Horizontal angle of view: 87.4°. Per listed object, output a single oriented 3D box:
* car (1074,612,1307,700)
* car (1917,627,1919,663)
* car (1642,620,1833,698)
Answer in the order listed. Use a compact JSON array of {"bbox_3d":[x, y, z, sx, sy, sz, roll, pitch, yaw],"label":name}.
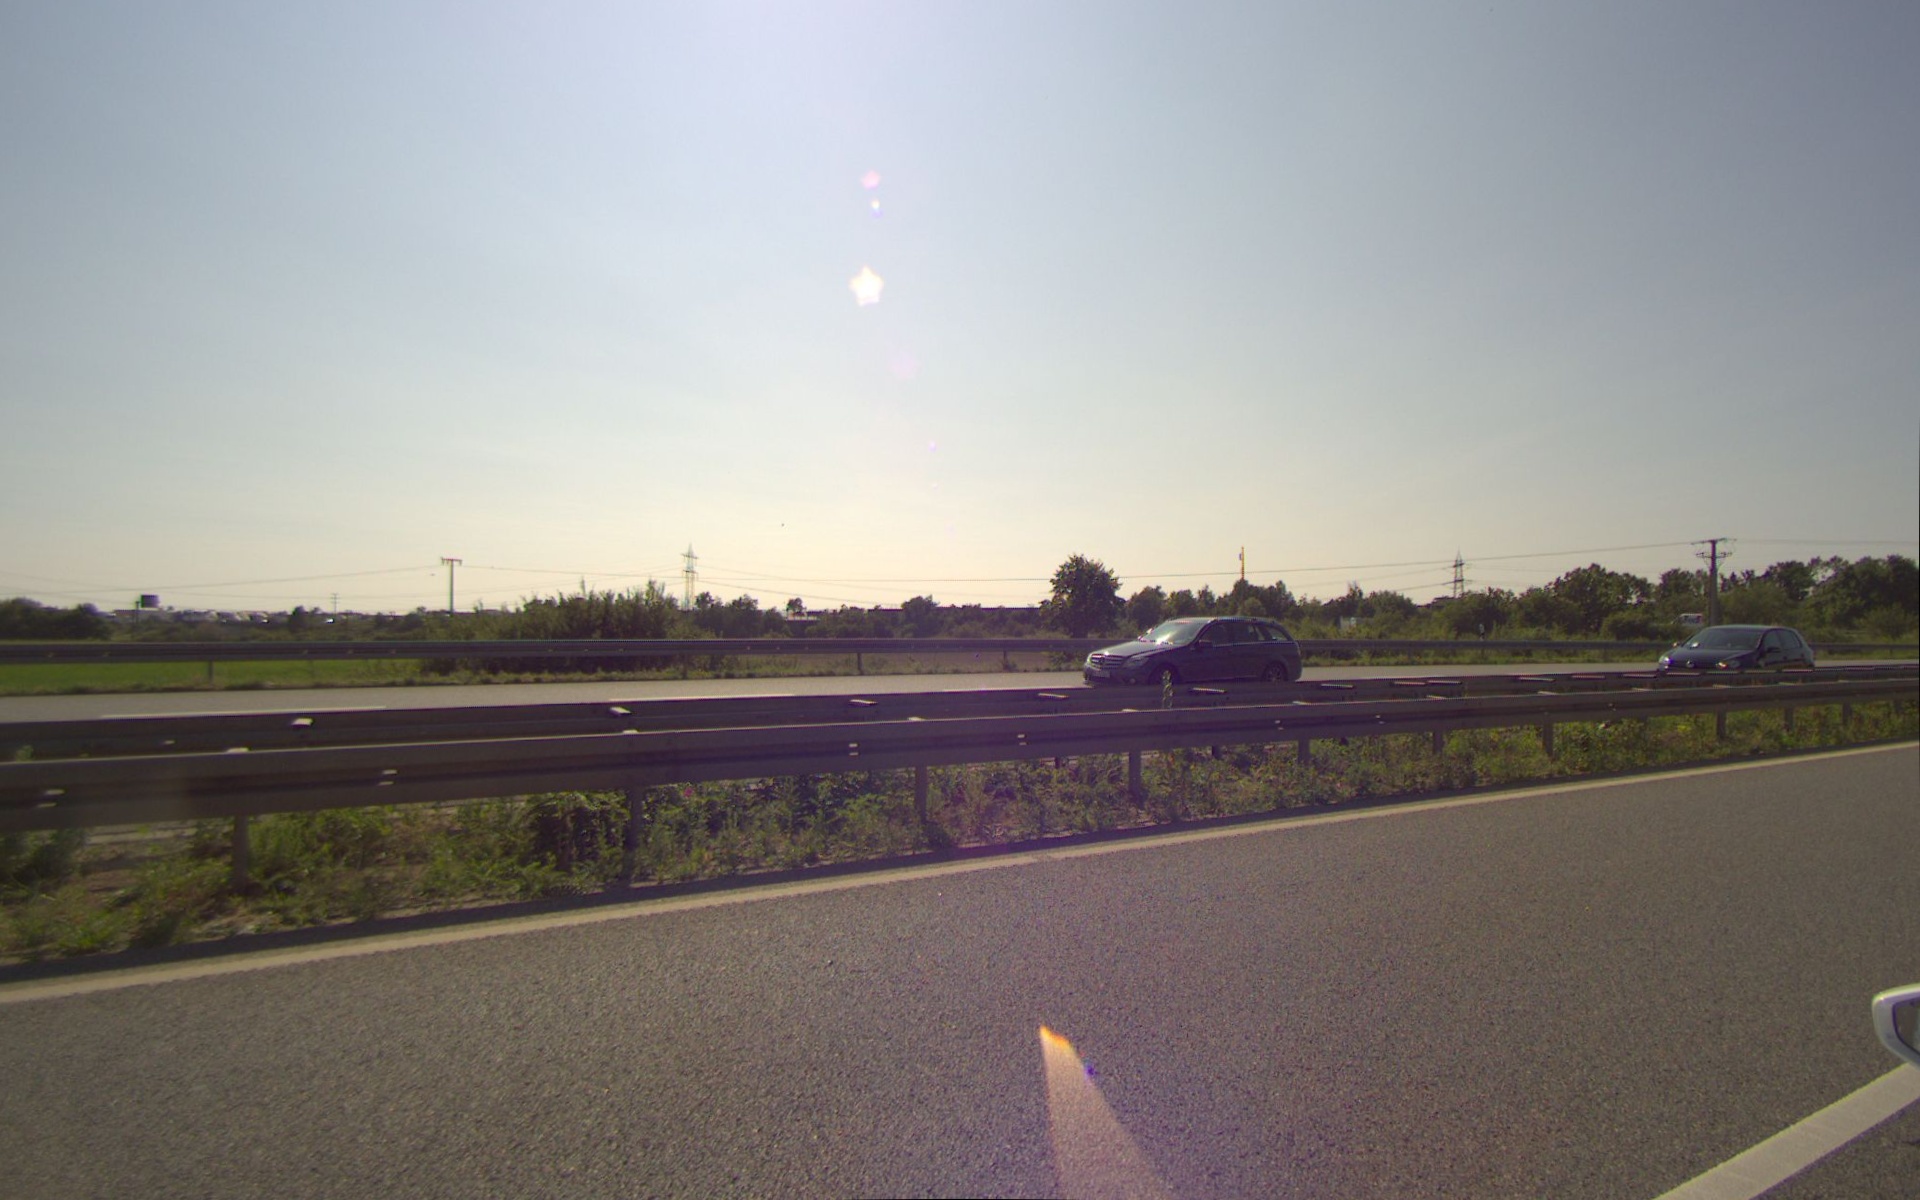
[{"bbox_3d":[4.336,0.986,18.696,4.274,1.469,1.704,1,-1,-32],"label":"car"},{"bbox_3d":[41.652,1.909,41.475,4.879,1.454,1.858,1,1,-31],"label":"car"},{"bbox_3d":[17.055,1.232,22.003,4.272,1.493,1.806,1,1,-30],"label":"car"}]
